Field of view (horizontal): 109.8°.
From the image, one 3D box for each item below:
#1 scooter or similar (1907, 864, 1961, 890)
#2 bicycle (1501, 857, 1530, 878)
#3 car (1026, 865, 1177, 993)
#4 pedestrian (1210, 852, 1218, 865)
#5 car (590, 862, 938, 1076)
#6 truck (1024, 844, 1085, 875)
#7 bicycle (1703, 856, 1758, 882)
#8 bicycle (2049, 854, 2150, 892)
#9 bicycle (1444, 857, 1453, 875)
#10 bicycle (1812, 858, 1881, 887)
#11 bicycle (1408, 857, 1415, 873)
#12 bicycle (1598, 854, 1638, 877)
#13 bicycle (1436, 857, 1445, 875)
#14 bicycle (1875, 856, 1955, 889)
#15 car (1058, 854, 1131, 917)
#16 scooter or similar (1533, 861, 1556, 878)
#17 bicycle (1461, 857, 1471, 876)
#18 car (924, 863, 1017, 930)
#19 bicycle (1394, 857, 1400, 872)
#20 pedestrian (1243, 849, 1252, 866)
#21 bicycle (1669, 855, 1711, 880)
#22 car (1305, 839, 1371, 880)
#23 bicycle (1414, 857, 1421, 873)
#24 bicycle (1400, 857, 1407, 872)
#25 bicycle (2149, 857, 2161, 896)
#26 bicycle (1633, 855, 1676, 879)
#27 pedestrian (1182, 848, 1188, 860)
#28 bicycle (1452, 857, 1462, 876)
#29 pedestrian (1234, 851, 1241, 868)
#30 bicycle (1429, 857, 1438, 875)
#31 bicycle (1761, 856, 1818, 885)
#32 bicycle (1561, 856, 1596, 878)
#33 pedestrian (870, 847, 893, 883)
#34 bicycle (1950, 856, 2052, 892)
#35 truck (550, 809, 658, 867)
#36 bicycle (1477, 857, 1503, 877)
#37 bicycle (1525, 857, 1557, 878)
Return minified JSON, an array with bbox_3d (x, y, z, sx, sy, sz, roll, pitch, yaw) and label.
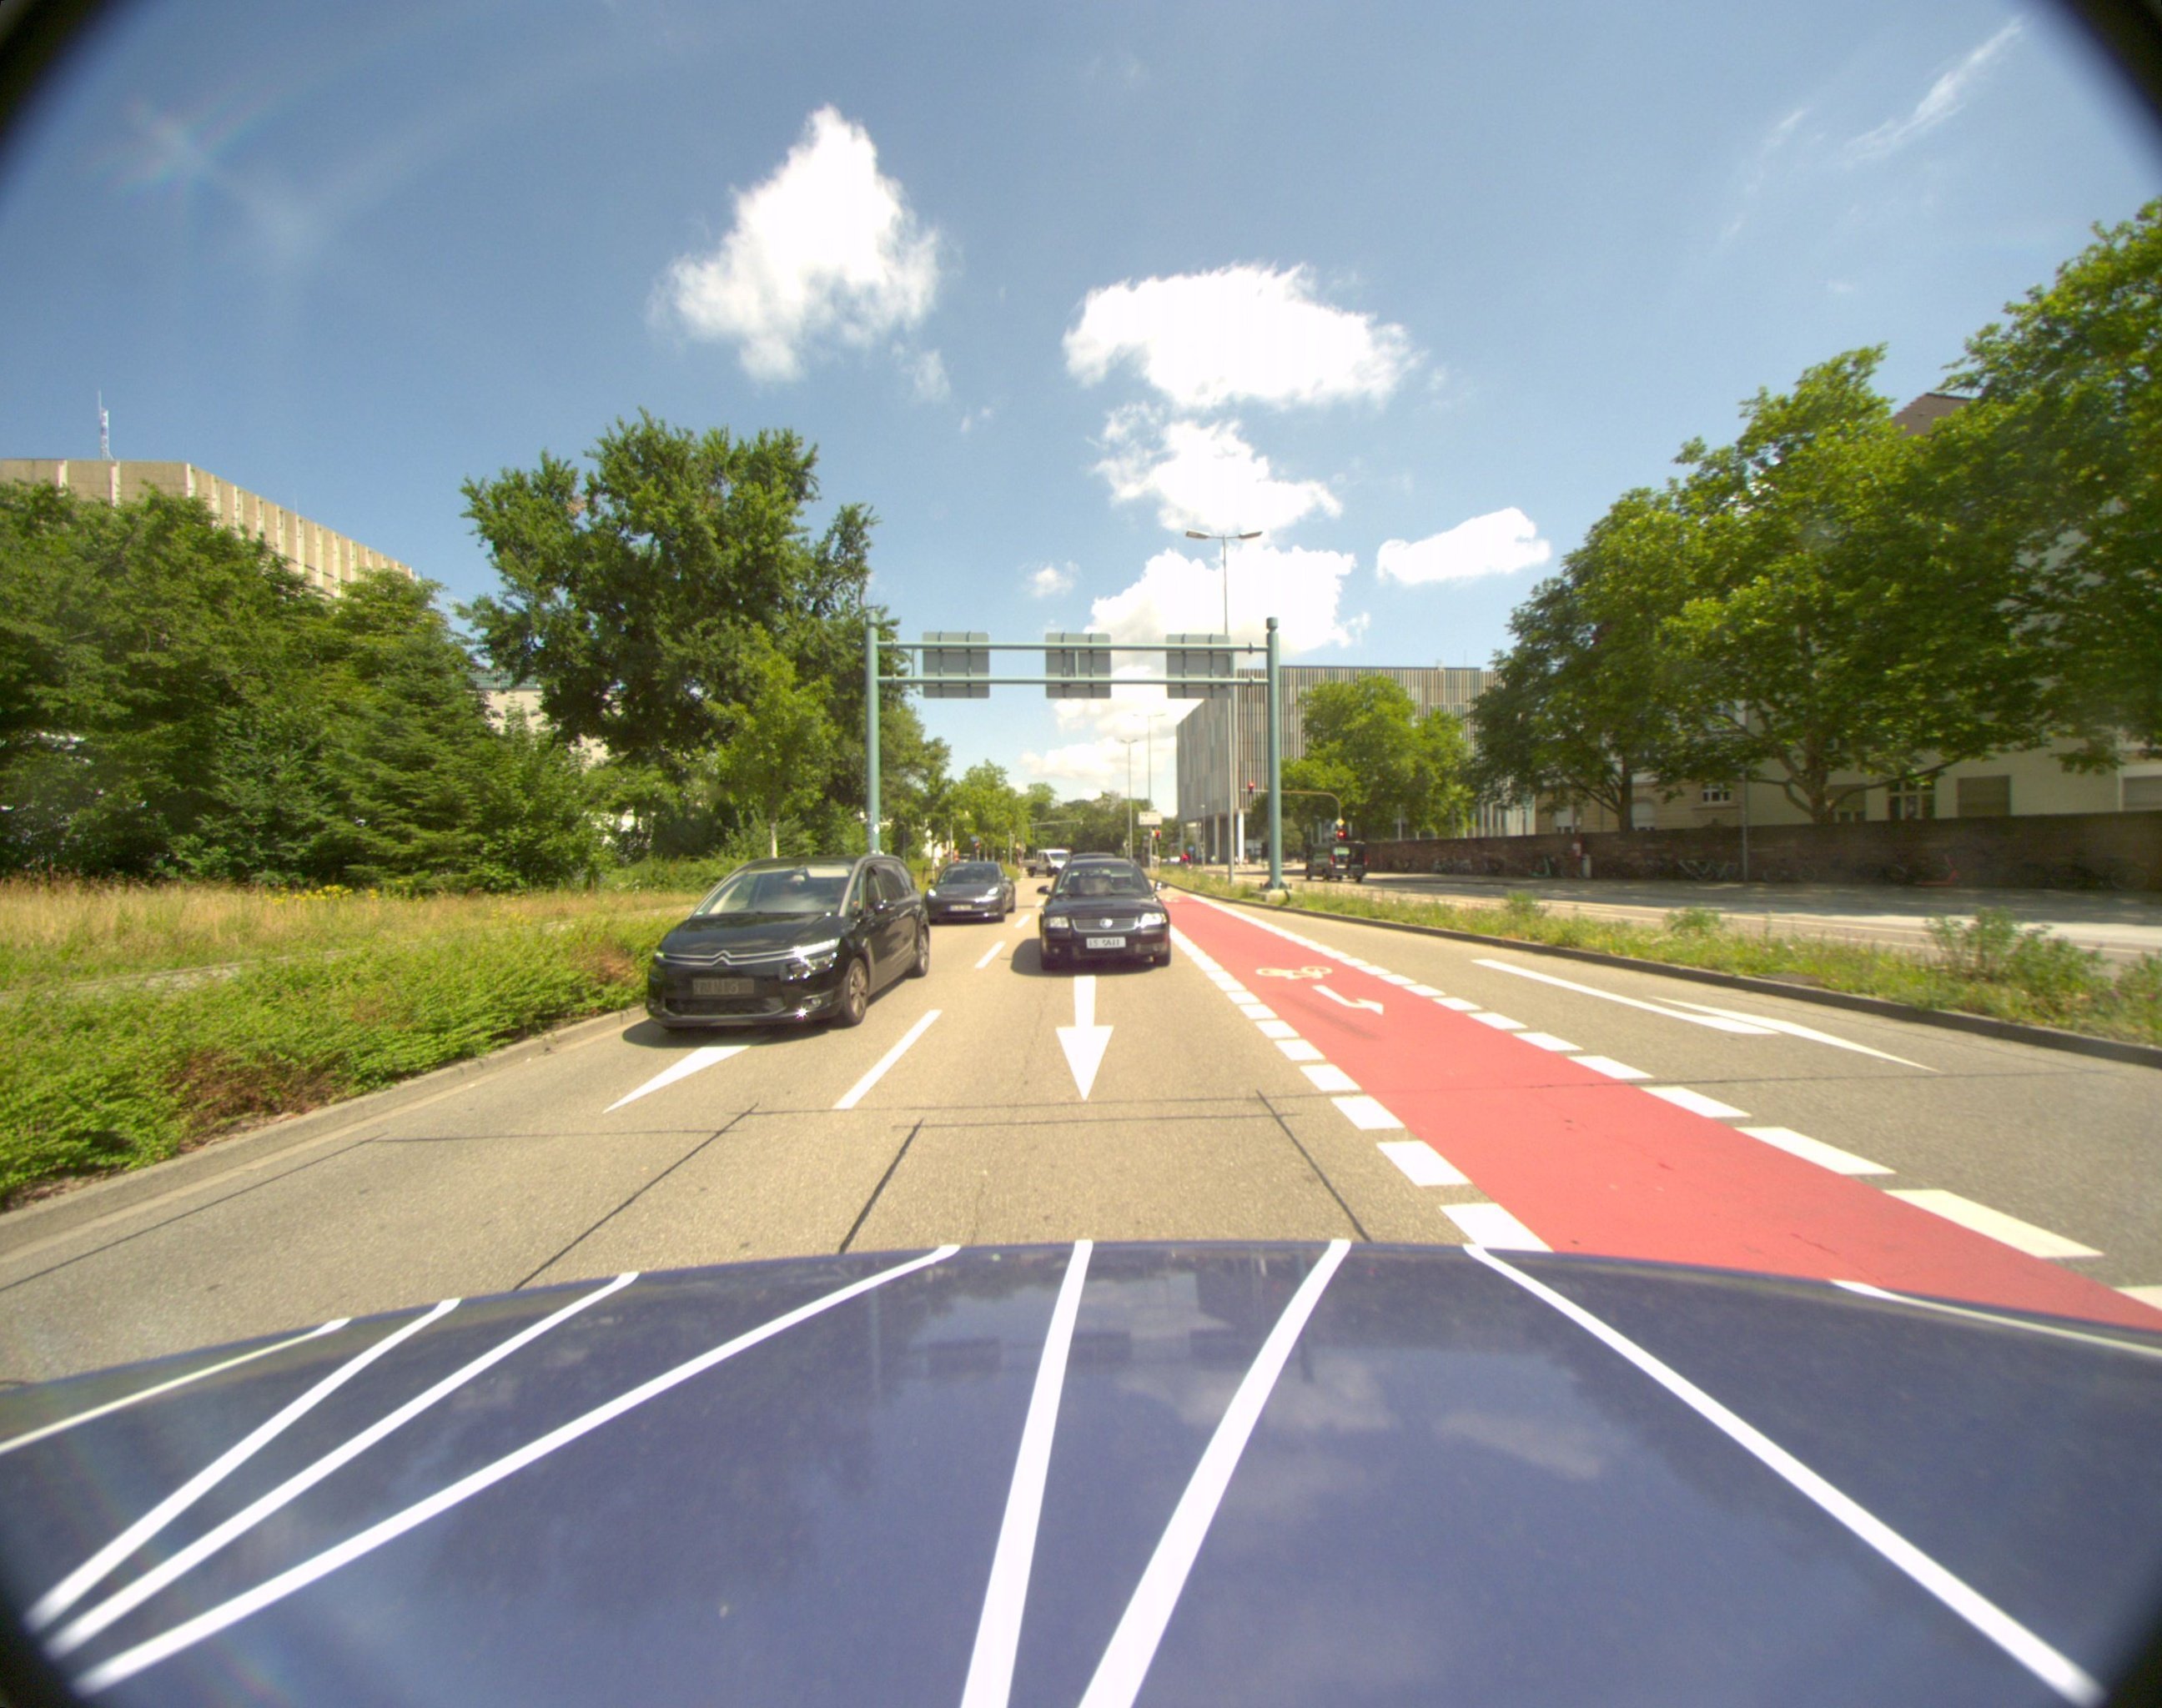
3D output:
[{"bbox_3d":[26.888,0.730,23.966,0.353,0.789,1.067,-1,0,-25],"label":"scooter or similar"},{"bbox_3d":[23.631,0.726,41.363,0.383,1.101,1.668,-1,0,-11],"label":"bicycle"},{"bbox_3d":[0.278,0.922,11.254,1.751,1.426,4.520,-1,0,1],"label":"car"},{"bbox_3d":[19.335,0.670,110.447,0.825,1.906,0.807,-2,1,-5],"label":"pedestrian"},{"bbox_3d":[-2.982,0.947,8.386,1.863,1.613,4.520,-3,0,0],"label":"car"},{"bbox_3d":[-2.218,0.457,61.778,2.467,2.287,5.803,-3,0,-30],"label":"truck"},{"bbox_3d":[25.928,0.584,30.358,0.398,1.037,1.759,-1,0,-14],"label":"bicycle"},{"bbox_3d":[28.426,0.511,21.245,0.398,1.037,1.637,-1,0,-19],"label":"bicycle"},{"bbox_3d":[22.631,0.729,46.770,0.382,1.101,1.673,0,0,21],"label":"bicycle"},{"bbox_3d":[26.831,0.635,26.666,0.398,0.997,1.759,-1,0,-14],"label":"bicycle"},{"bbox_3d":[22.099,0.725,50.815,0.329,1.012,1.673,0,0,21],"label":"bicycle"},{"bbox_3d":[24.817,0.504,35.130,0.383,1.037,1.668,-1,0,-12],"label":"bicycle"},{"bbox_3d":[22.520,0.723,47.585,0.382,1.101,1.673,0,0,21],"label":"bicycle"},{"bbox_3d":[27.290,0.597,24.902,0.398,1.037,1.759,-1,0,-16],"label":"bicycle"},{"bbox_3d":[0.382,0.808,21.419,1.751,1.495,4.520,-3,0,1],"label":"car"},{"bbox_3d":[23.469,0.799,38.459,0.353,0.838,1.068,-1,0,-13],"label":"scooter or similar"},{"bbox_3d":[22.878,0.737,45.154,0.382,1.101,1.673,0,0,21],"label":"bicycle"},{"bbox_3d":[-2.638,0.966,19.043,1.766,1.409,4.363,-1,0,-2],"label":"car"},{"bbox_3d":[21.825,0.711,52.473,0.329,1.012,1.673,0,0,21],"label":"bicycle"},{"bbox_3d":[19.238,0.381,87.916,0.715,1.906,0.807,-2,1,-5],"label":"pedestrian"},{"bbox_3d":[25.551,0.560,31.898,0.377,1.037,1.415,-1,0,-14],"label":"bicycle"},{"bbox_3d":[14.292,0.321,42.546,2.214,2.158,4.520,1,0,1],"label":"car"},{"bbox_3d":[22.208,0.736,50.102,0.329,1.012,1.673,0,0,21],"label":"bicycle"},{"bbox_3d":[21.961,0.716,51.743,0.329,1.012,1.673,0,0,21],"label":"bicycle"},{"bbox_3d":[29.045,0.591,19.446,0.398,1.037,1.955,-1,0,-19],"label":"bicycle"},{"bbox_3d":[25.205,0.559,33.440,0.383,1.037,1.668,-1,0,-12],"label":"bicycle"},{"bbox_3d":[16.084,-0.003,117.341,0.715,1.906,0.807,-2,1,-5],"label":"pedestrian"},{"bbox_3d":[22.738,0.733,45.909,0.382,1.101,1.673,0,0,21],"label":"bicycle"},{"bbox_3d":[18.042,0.619,87.631,0.632,1.907,0.718,-2,1,-3],"label":"pedestrian"},{"bbox_3d":[22.258,0.727,48.022,0.382,1.101,1.673,0,0,21],"label":"bicycle"},{"bbox_3d":[26.408,0.601,28.349,0.398,1.037,1.582,-1,0,-14],"label":"bicycle"},{"bbox_3d":[24.283,0.601,37.103,0.383,1.037,1.668,-1,0,-12],"label":"bicycle"},{"bbox_3d":[-9.860,0.525,37.489,0.844,1.755,0.841,-2,1,0],"label":"pedestrian"},{"bbox_3d":[27.825,0.586,23.026,0.398,1.037,1.955,-1,0,-17],"label":"bicycle"},{"bbox_3d":[-27.450,-0.885,44.117,2.098,3.005,7.121,-2,1,-4],"label":"truck"},{"bbox_3d":[23.356,0.754,43.376,0.383,1.101,1.669,-1,0,-9],"label":"bicycle"},{"bbox_3d":[23.969,0.692,39.636,0.383,1.101,1.668,-1,0,-12],"label":"bicycle"}]
